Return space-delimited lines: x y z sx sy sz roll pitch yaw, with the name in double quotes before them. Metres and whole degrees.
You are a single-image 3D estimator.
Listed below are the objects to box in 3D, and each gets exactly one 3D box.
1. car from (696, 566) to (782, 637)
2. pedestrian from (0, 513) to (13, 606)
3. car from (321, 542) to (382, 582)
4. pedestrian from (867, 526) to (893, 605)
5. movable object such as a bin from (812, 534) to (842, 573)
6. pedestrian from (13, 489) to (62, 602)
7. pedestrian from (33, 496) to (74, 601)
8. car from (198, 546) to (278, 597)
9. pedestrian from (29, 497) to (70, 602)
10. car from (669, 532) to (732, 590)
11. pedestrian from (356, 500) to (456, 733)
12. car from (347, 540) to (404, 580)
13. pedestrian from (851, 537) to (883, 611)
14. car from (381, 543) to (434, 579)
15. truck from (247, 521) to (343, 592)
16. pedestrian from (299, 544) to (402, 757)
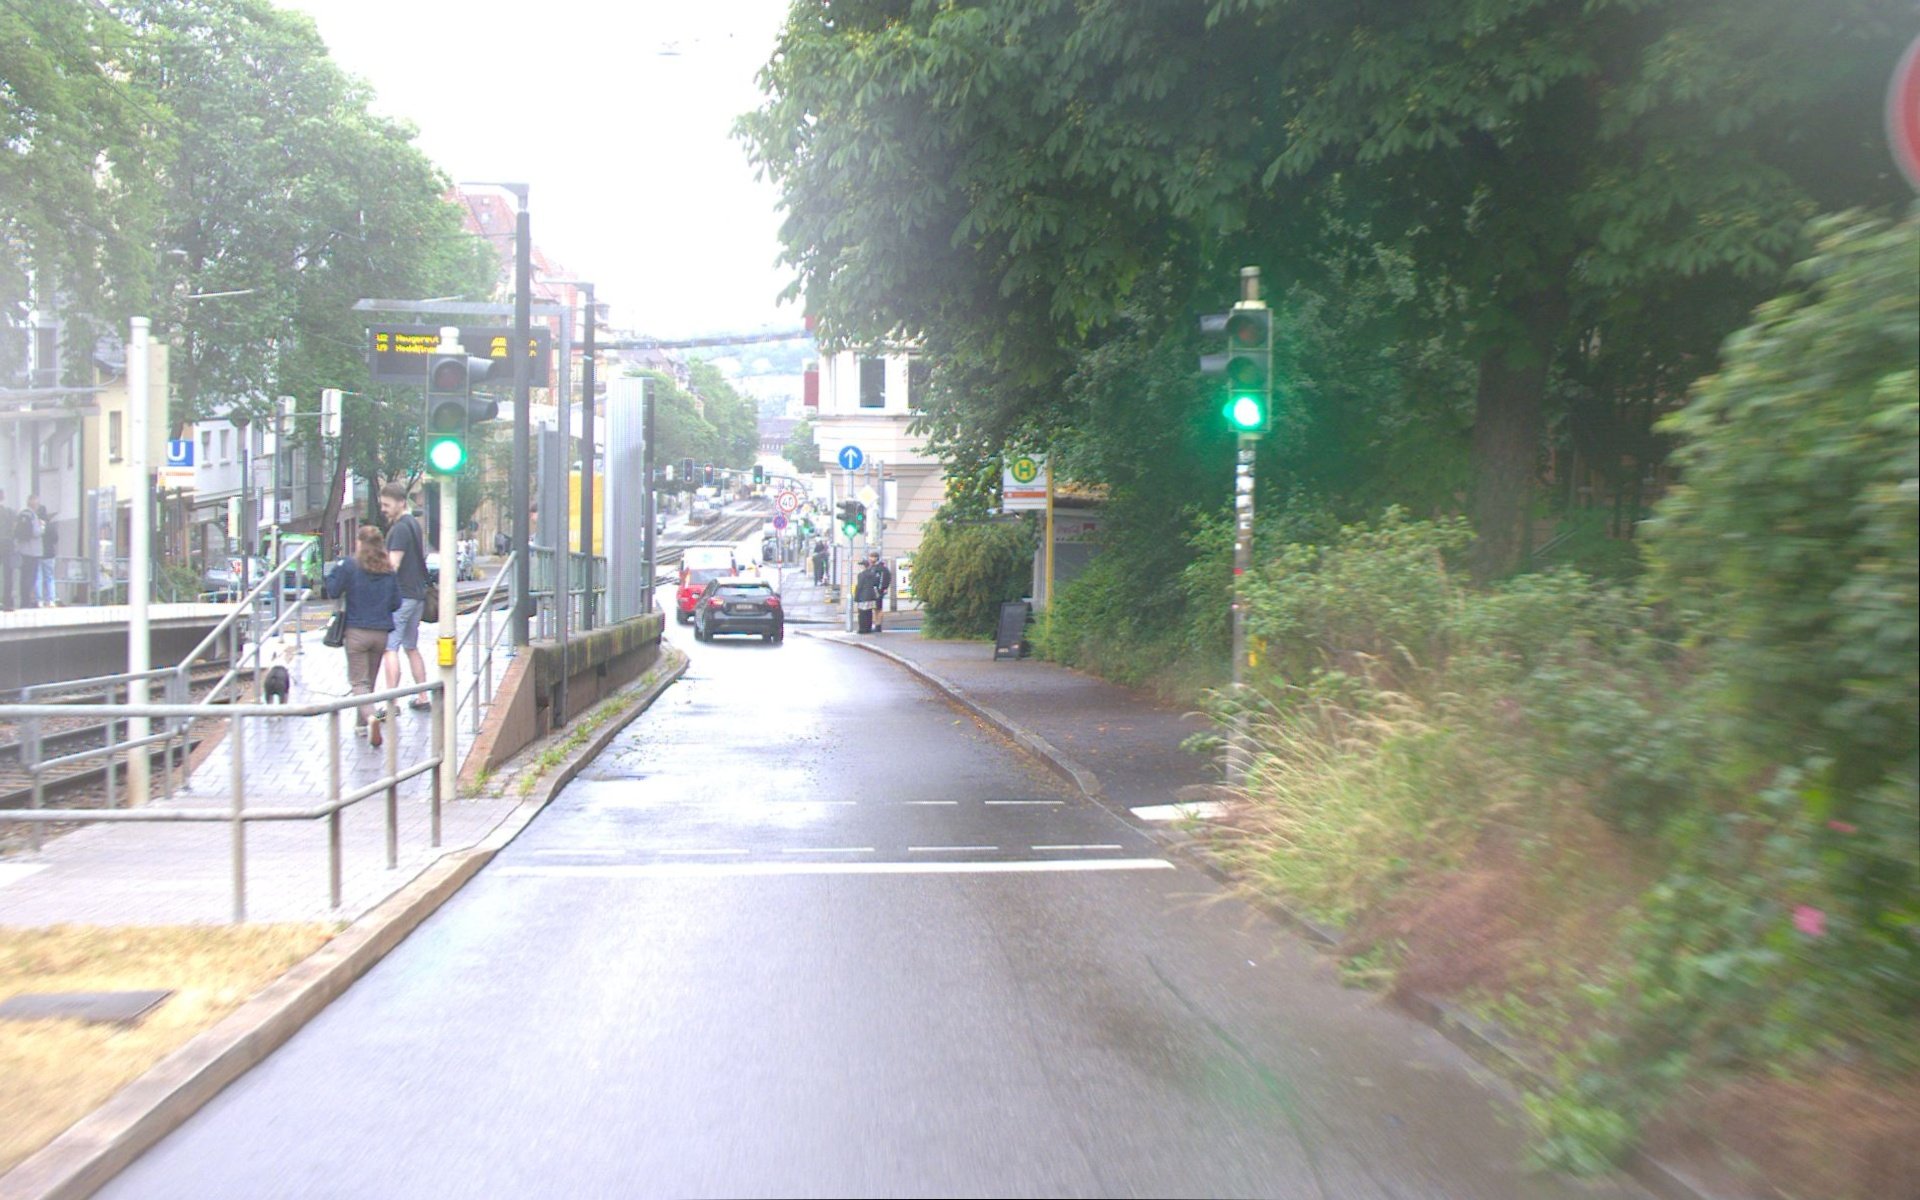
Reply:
"car" -4.958 0.012 77.039 1.851 1.468 4.001 -1 1 -4
"pedestrian" -14.870 -0.611 52.608 0.550 1.408 0.614 -2 0 -3
"car" -23.743 -1.492 134.298 1.773 1.448 4.256 -3 1 -3
"pedestrian" -1.850 -0.793 79.546 0.553 1.807 0.651 0 1 -5
"movable object such as a bin" -5.850 -2.025 150.772 1.167 1.649 1.309 -2 1 -6
"pedestrian" -14.458 -0.853 53.877 0.550 1.735 0.614 -2 0 -3
"pedestrian" -15.121 -0.857 57.329 0.482 1.735 0.563 -2 0 -3
"car" -23.122 -0.944 110.227 1.726 1.510 4.496 -1 2 -2
"pedestrian" -15.332 -0.854 57.910 0.482 1.735 0.563 -2 0 -3
"car" -8.204 -1.235 108.762 1.948 1.787 4.145 0 1 -4
"pedestrian" -4.297 0.119 26.701 0.650 1.778 0.848 -1 1 -2
"car" -24.066 -1.666 141.537 1.773 1.541 4.256 -3 1 -3
"pedestrian" -2.145 -0.595 78.907 0.695 1.689 0.555 0 1 -4
"car" -24.557 -1.740 152.966 1.773 1.483 4.256 -3 1 -2
"truck" -23.244 -1.539 120.382 2.051 2.385 6.321 -1 1 0
"pedestrian" -4.540 0.367 25.632 0.650 1.557 0.684 -1 1 -2
